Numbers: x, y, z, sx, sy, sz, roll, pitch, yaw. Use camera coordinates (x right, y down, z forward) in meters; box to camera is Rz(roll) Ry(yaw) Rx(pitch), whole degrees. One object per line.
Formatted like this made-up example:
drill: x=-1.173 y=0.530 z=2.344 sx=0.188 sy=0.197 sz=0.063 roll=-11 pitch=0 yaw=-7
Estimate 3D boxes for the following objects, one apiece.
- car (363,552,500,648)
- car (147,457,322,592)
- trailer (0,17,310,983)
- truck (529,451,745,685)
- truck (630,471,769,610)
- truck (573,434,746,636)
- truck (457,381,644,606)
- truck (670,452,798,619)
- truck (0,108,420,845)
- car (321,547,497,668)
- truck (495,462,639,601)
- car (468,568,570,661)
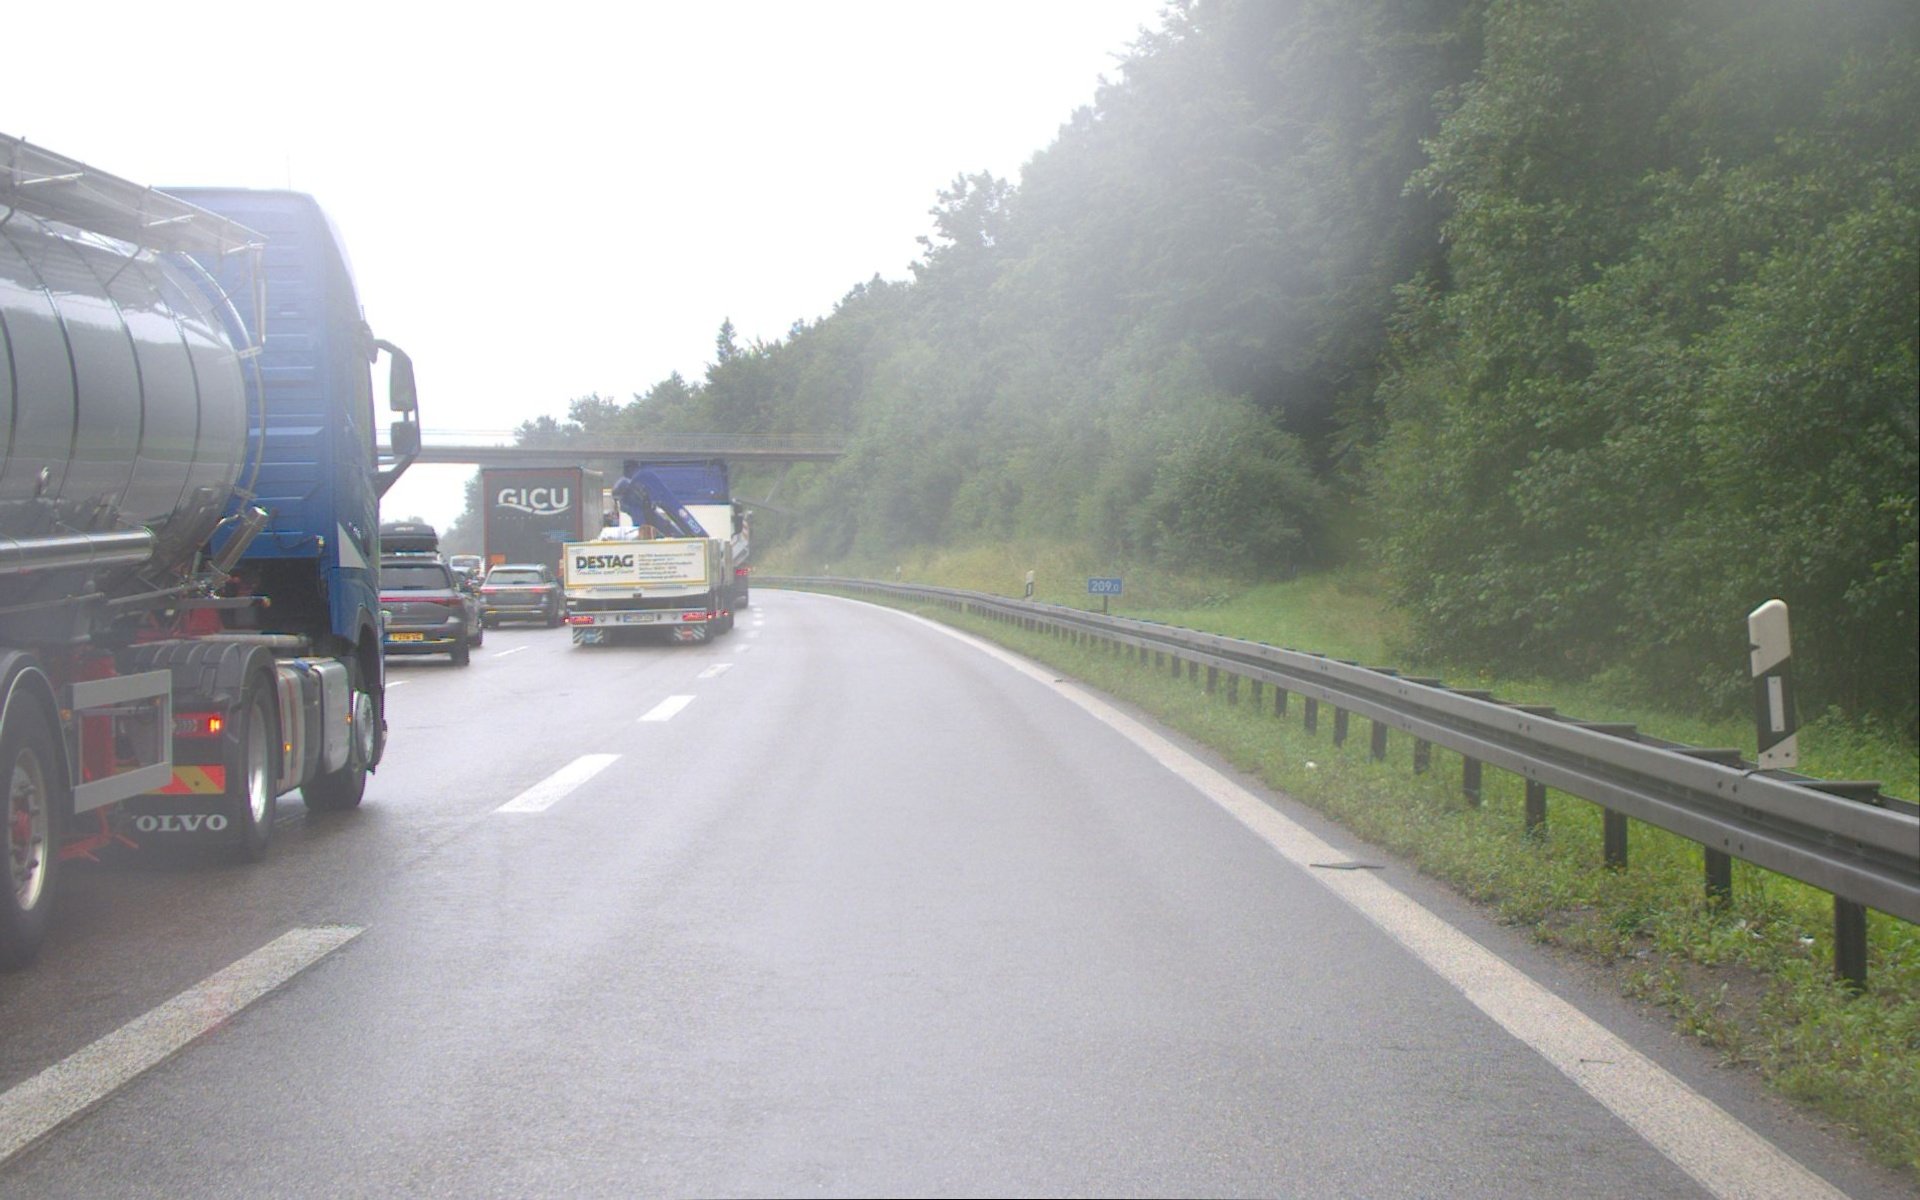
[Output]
car: x=-9.477 y=-0.031 z=61.944 sx=1.938 sy=1.656 sz=4.000 roll=0 pitch=1 yaw=-1
car: x=-11.113 y=-1.120 z=52.906 sx=1.797 sy=1.831 sz=4.000 roll=3 pitch=-1 yaw=-1
trailer: x=-4.723 y=-0.355 z=12.919 sx=2.873 sy=3.277 sz=10.079 roll=0 pitch=1 yaw=-1
truck: x=-6.031 y=-0.638 z=66.120 sx=3.599 sy=4.091 sz=11.561 roll=0 pitch=1 yaw=-3
truck: x=-8.372 y=-1.824 z=112.155 sx=3.754 sy=3.957 sz=11.059 roll=3 pitch=-1 yaw=-1
truck: x=-7.006 y=-1.389 z=81.827 sx=3.507 sy=4.253 sz=10.604 roll=3 pitch=-1 yaw=-3
truck: x=-11.048 y=-2.743 z=93.960 sx=3.754 sy=5.480 sz=10.172 roll=3 pitch=-1 yaw=-1
truck: x=-8.494 y=-2.335 z=130.001 sx=4.336 sy=5.744 sz=9.731 roll=3 pitch=-1 yaw=-3
truck: x=-4.887 y=-0.651 z=19.682 sx=2.877 sy=3.681 sz=5.056 roll=0 pitch=1 yaw=-1
car: x=-8.218 y=0.139 z=51.596 sx=1.993 sy=1.630 sz=4.000 roll=3 pitch=-1 yaw=-1
truck: x=-12.578 y=-2.114 z=111.068 sx=3.576 sy=4.082 sz=10.879 roll=0 pitch=-1 yaw=-1
car: x=-10.191 y=0.361 z=79.634 sx=1.793 sy=2.007 sz=4.000 roll=3 pitch=-1 yaw=-1
